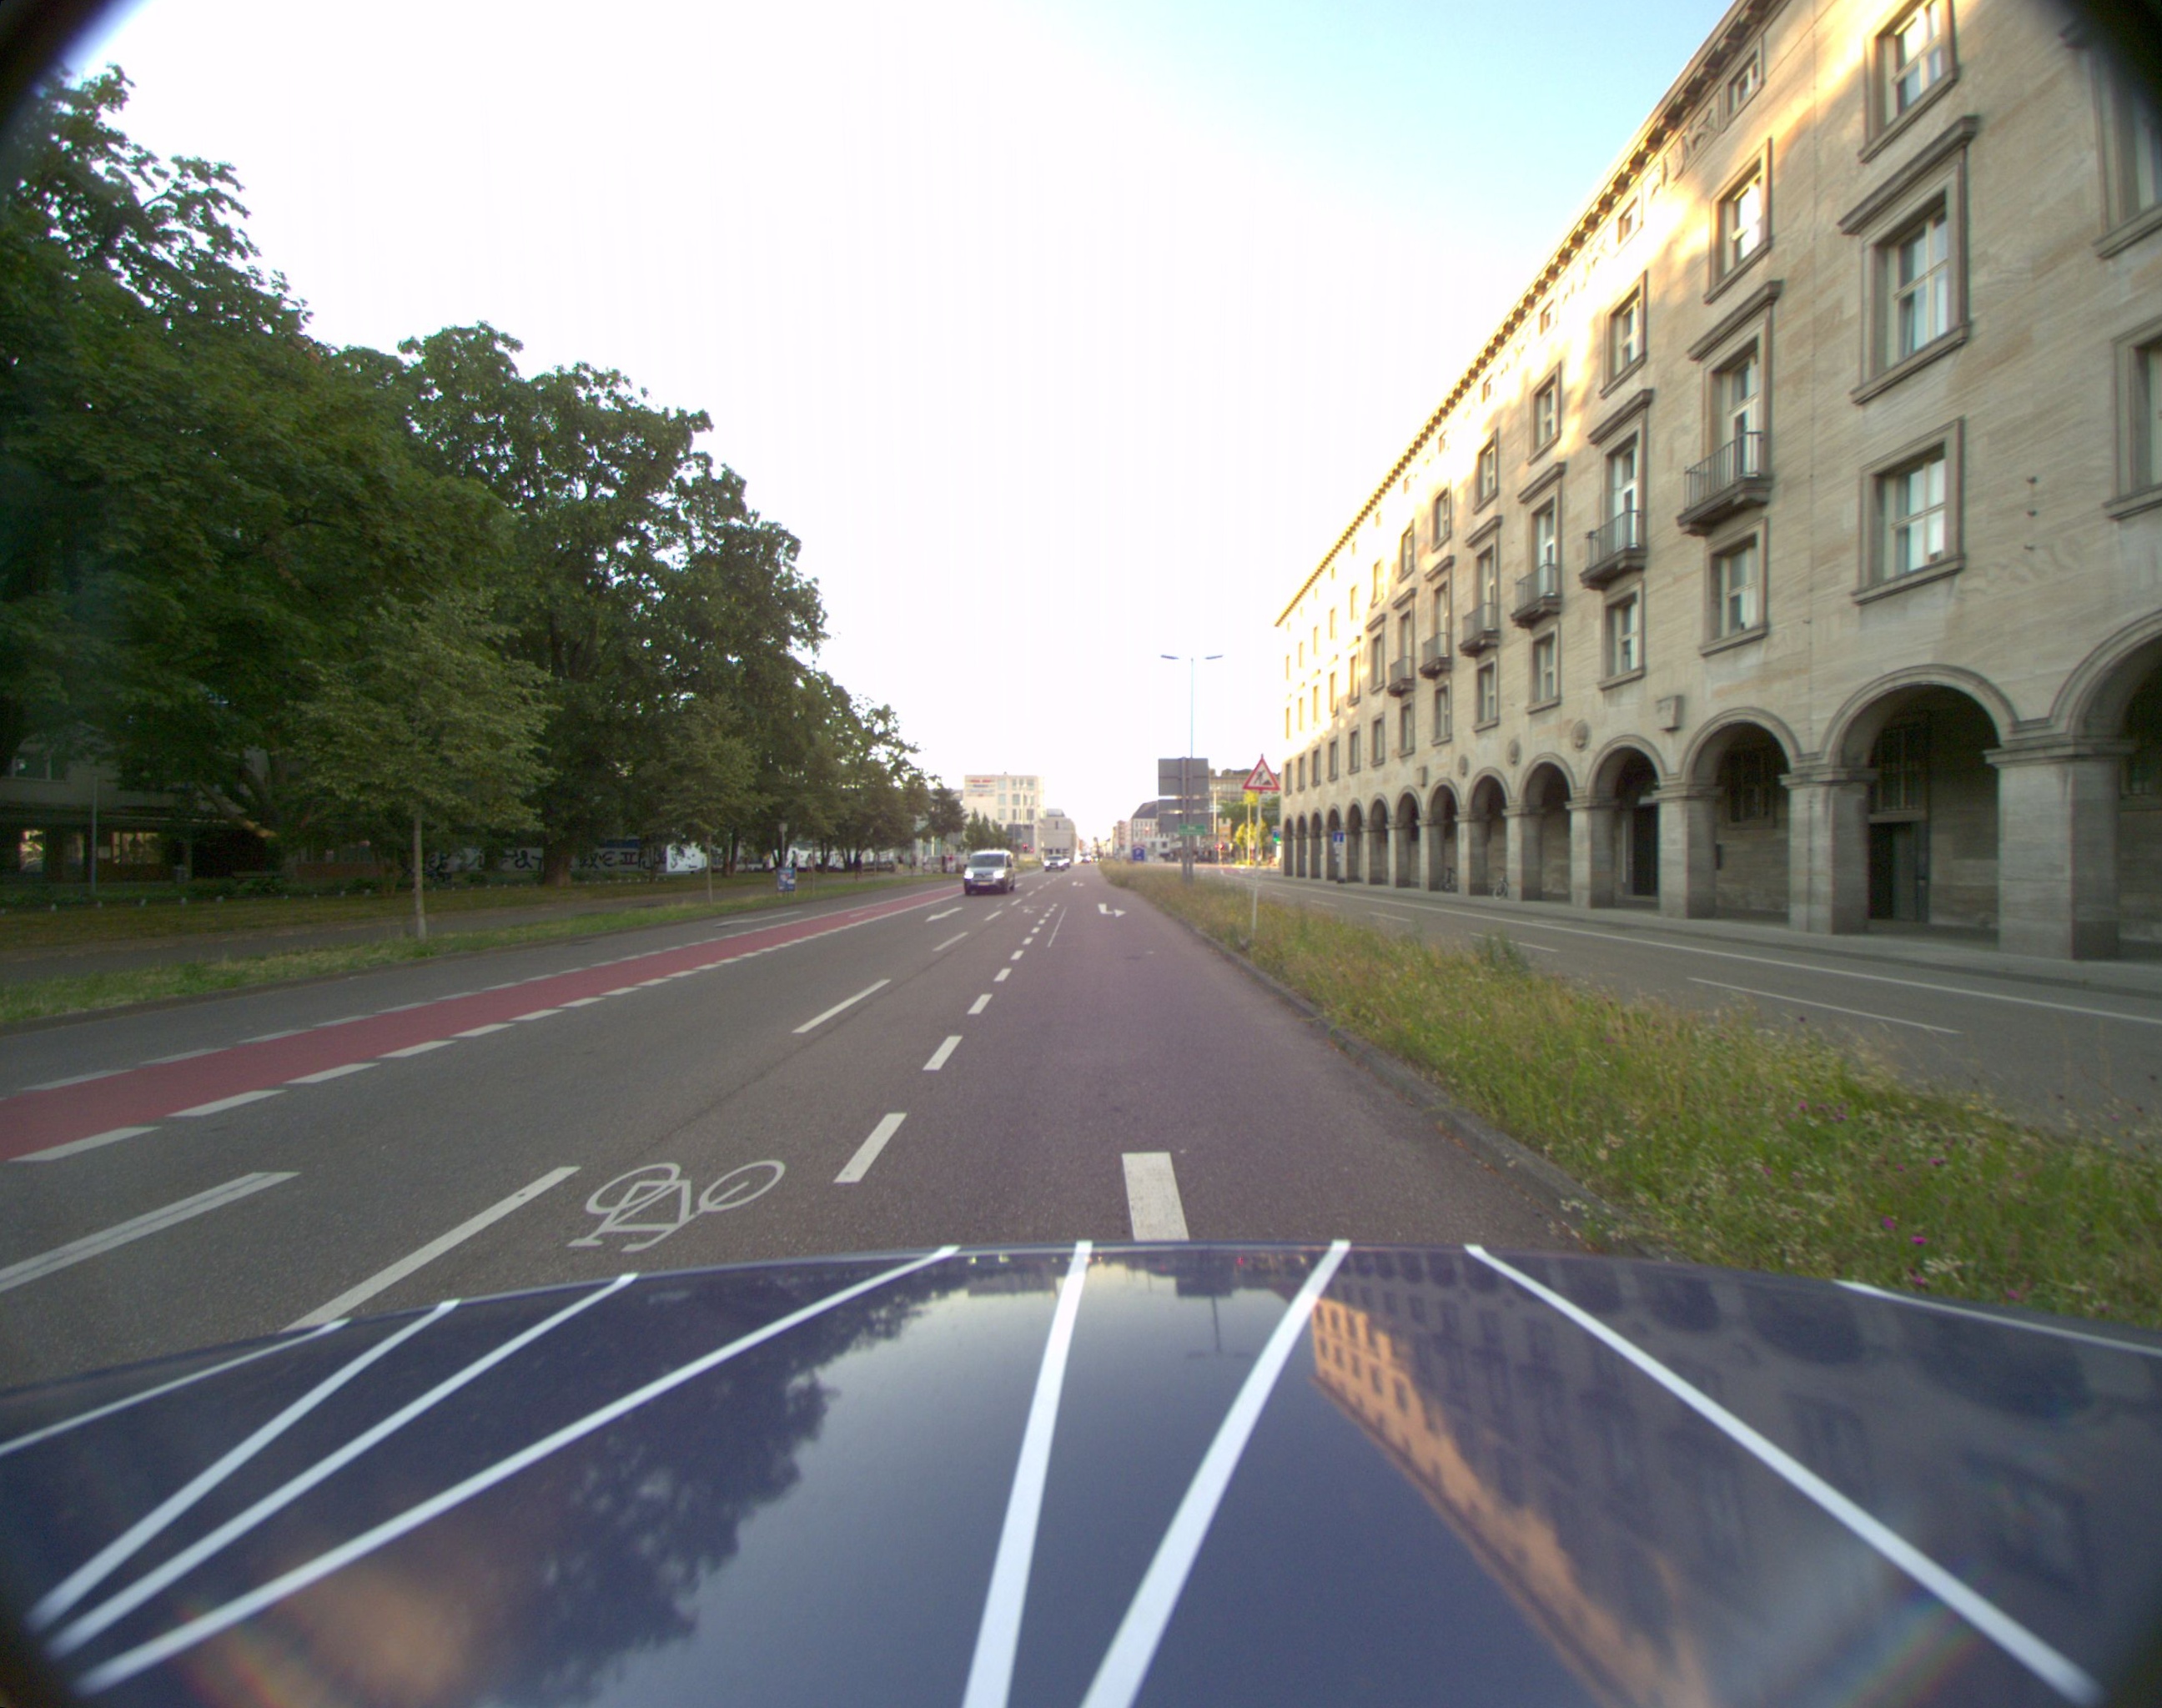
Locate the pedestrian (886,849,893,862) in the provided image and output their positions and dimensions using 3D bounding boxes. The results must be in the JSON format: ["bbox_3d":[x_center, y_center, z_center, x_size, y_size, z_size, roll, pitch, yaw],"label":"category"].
[{"bbox_3d":[-21.150,0.154,83.861,0.519,1.347,0.773,0,1,1],"label":"pedestrian"}]

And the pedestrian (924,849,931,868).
[{"bbox_3d":[-13.931,0.442,69.053,0.509,1.720,0.719,0,1,1],"label":"pedestrian"}]

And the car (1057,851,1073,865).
[{"bbox_3d":[-1.865,0.476,91.138,1.782,1.617,4.215,-1,0,1],"label":"car"}]

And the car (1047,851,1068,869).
[{"bbox_3d":[-2.356,0.584,76.755,1.826,1.612,4.336,-2,0,0],"label":"car"}]

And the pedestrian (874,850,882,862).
[{"bbox_3d":[-22.032,0.226,82.545,0.662,1.347,0.559,0,1,1],"label":"pedestrian"}]

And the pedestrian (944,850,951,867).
[{"bbox_3d":[-14.375,0.492,81.600,0.638,1.747,0.506,0,1,1],"label":"pedestrian"}]

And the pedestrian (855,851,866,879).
[{"bbox_3d":[-13.592,0.676,46.826,0.558,1.729,0.555,0,1,1],"label":"pedestrian"}]

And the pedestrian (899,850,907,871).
[{"bbox_3d":[-14.919,0.553,63.574,0.509,1.720,0.719,0,1,1],"label":"pedestrian"}]

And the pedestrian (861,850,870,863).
[{"bbox_3d":[-23.459,0.283,82.662,0.728,1.347,0.614,0,1,1],"label":"pedestrian"}]

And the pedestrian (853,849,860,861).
[{"bbox_3d":[-24.235,0.091,82.055,0.631,1.347,0.681,0,1,1],"label":"pedestrian"}]

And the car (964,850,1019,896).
[{"bbox_3d":[-3.855,0.780,33.292,1.767,1.877,4.500,-1,0,1],"label":"car"}]

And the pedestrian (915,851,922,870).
[{"bbox_3d":[-14.788,0.589,69.229,0.519,1.720,0.719,0,1,1],"label":"pedestrian"}]

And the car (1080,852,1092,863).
[{"bbox_3d":[0.794,0.534,120.618,1.782,1.676,4.215,0,0,-1],"label":"car"}]

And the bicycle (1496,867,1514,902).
[{"bbox_3d":[15.378,1.071,27.552,0.513,1.115,2.427,0,1,30],"label":"bicycle"}]

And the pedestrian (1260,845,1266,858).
[{"bbox_3d":[24.650,-0.307,102.777,0.638,1.747,0.506,0,1,1],"label":"pedestrian"}]

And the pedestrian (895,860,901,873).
[{"bbox_3d":[-20.194,1.380,83.914,0.509,1.347,0.435,0,1,1],"label":"pedestrian"}]

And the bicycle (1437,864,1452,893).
[{"bbox_3d":[15.415,1.017,32.238,0.513,1.172,2.427,0,0,25],"label":"bicycle"}]

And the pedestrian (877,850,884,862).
[{"bbox_3d":[-22.191,0.187,84.135,0.654,1.347,0.505,0,1,1],"label":"pedestrian"}]

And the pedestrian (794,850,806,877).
[{"bbox_3d":[-16.483,0.557,44.596,0.500,1.592,0.522,0,1,1],"label":"pedestrian"}]

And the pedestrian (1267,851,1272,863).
[{"bbox_3d":[25.432,0.414,102.588,0.526,1.532,0.390,0,1,1],"label":"pedestrian"}]

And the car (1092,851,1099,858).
[{"bbox_3d":[4.337,0.119,232.628,1.998,2.297,5.089,0,0,0],"label":"car"}]

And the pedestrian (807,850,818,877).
[{"bbox_3d":[-16.102,0.574,45.526,0.500,1.592,0.365,0,1,1],"label":"pedestrian"}]

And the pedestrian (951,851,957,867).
[{"bbox_3d":[-13.608,0.542,81.378,0.638,1.747,0.506,0,1,1],"label":"pedestrian"}]
